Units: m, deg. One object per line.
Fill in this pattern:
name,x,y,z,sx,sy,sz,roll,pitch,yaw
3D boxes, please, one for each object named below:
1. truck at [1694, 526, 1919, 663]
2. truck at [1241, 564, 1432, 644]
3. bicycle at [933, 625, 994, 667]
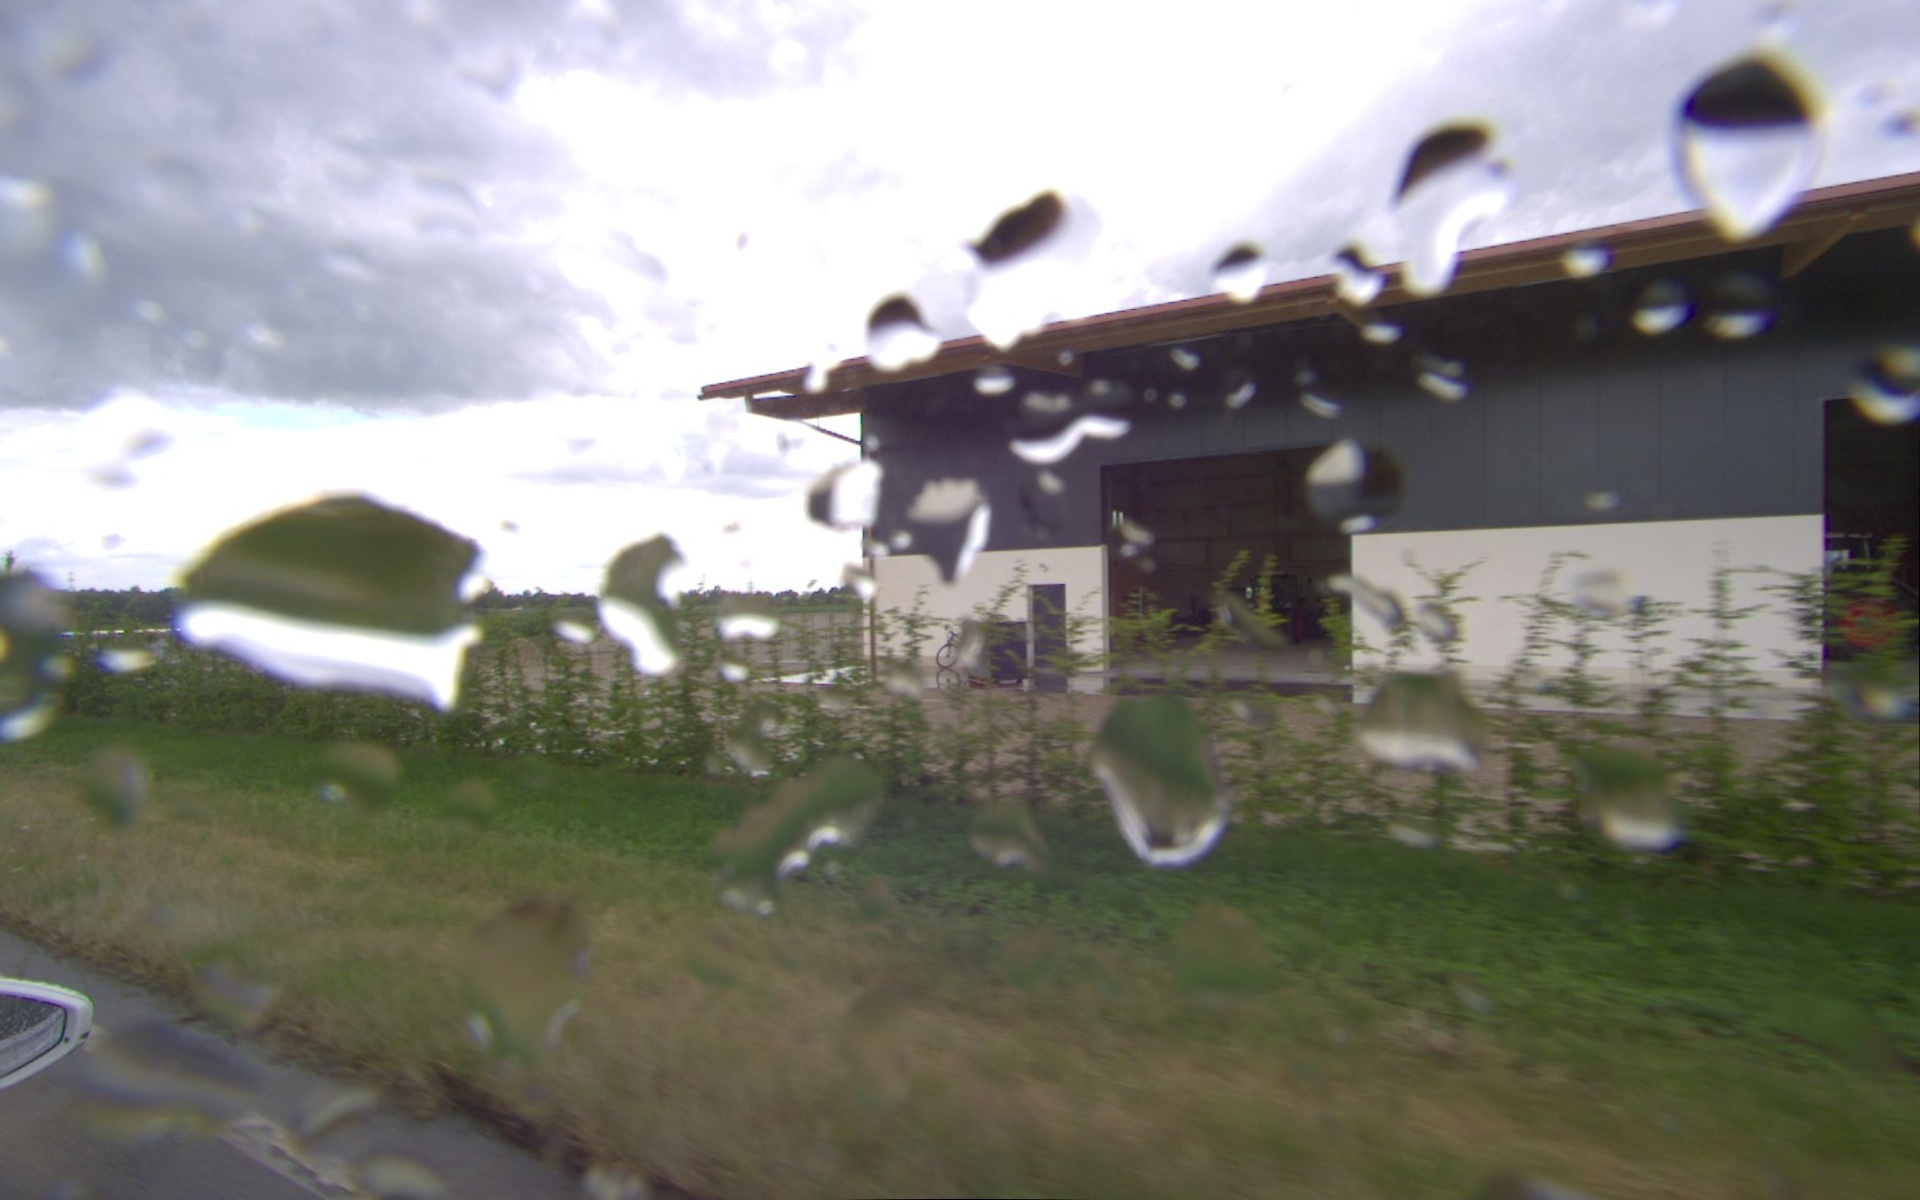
truck,20.943,-0.110,23.942,5.267,3.053,2.485,-1,1,32
truck,13.298,0.173,35.554,6.068,2.642,2.113,-1,0,32
bicycle,0.084,1.210,26.720,1.637,1.086,0.389,-1,1,32
